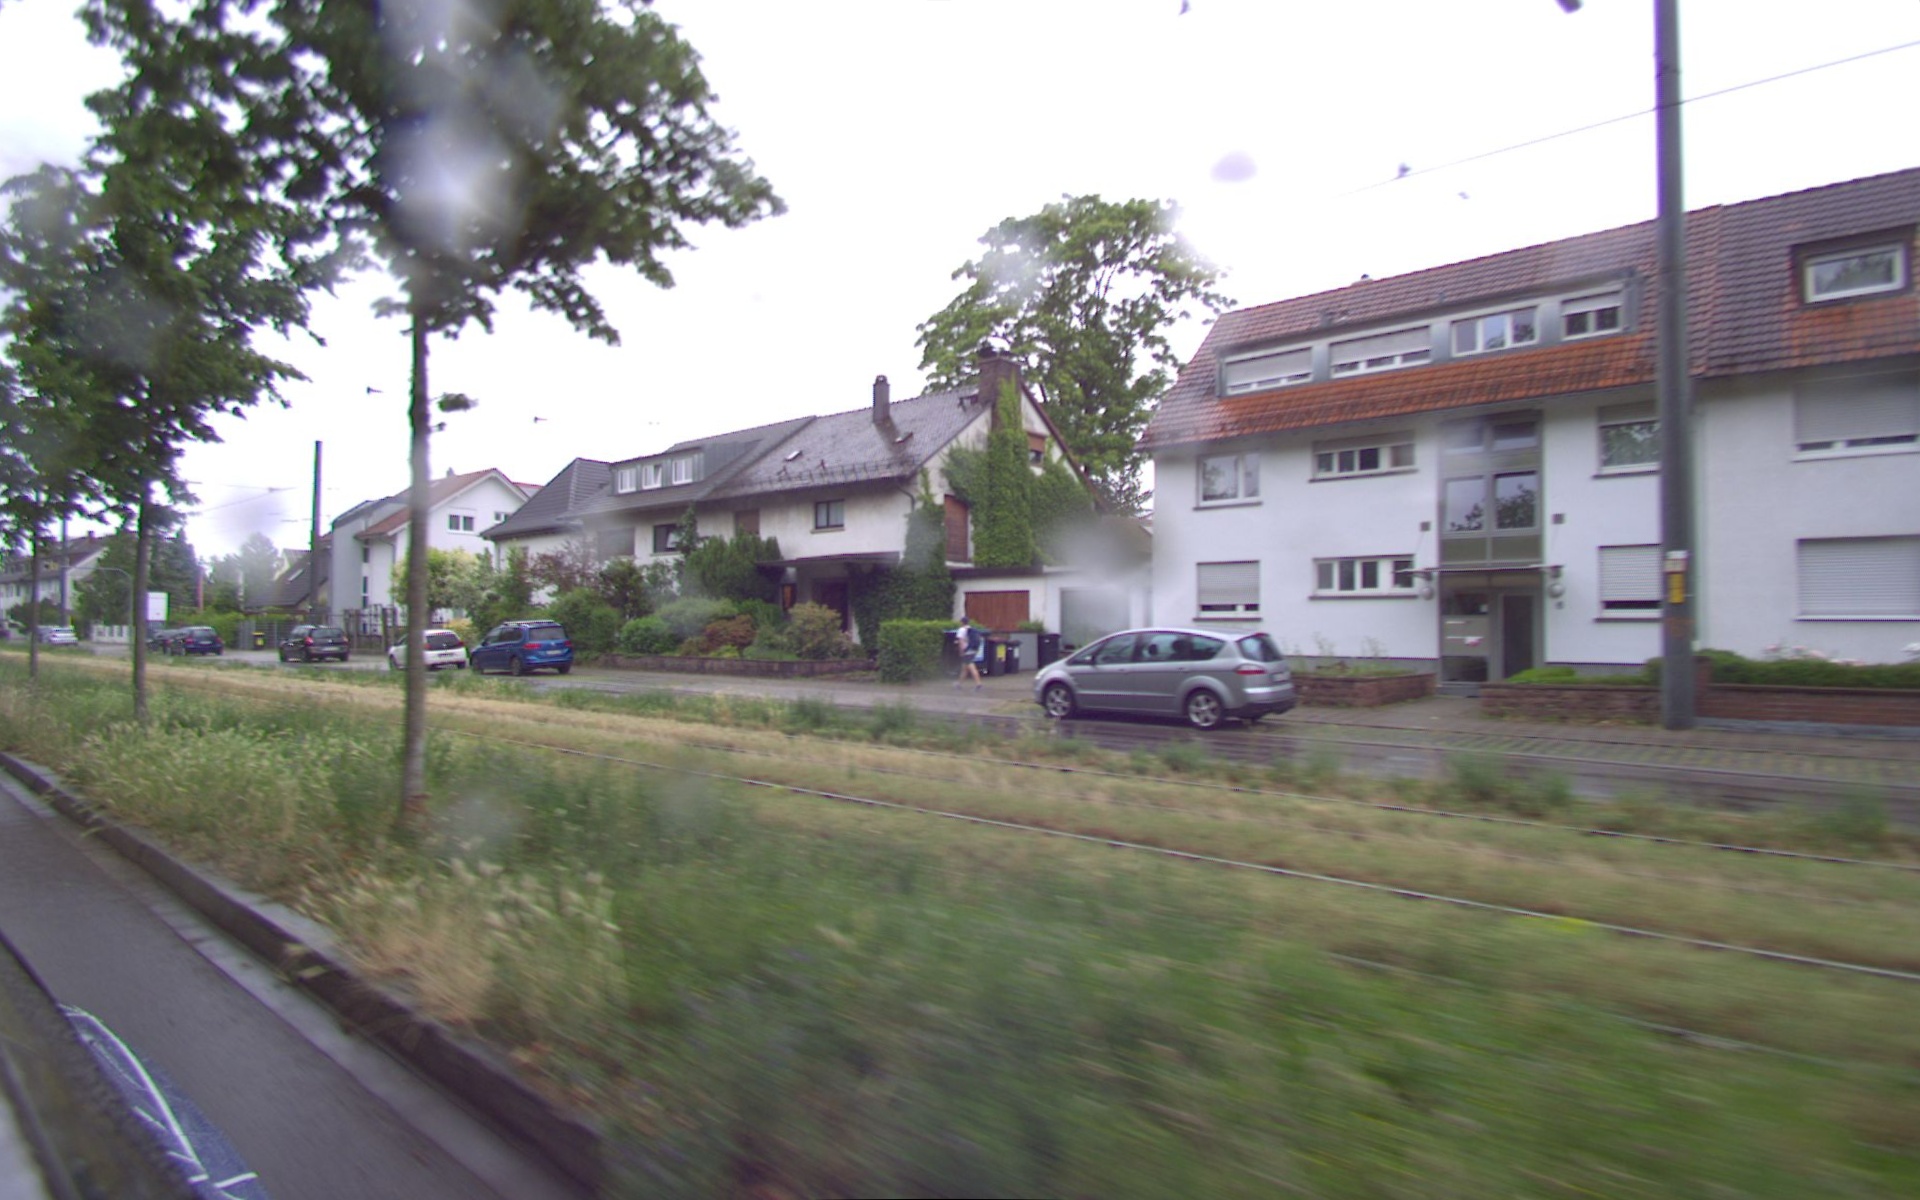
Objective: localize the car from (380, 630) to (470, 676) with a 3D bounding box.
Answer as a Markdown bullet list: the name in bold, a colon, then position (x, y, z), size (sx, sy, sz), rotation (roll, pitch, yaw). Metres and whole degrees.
- **car**: position (-19.857, 1.934, 37.490), size (3.598, 1.540, 1.696), rotation (-2, 0, 40)

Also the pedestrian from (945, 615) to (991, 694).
- **pedestrian**: position (0.179, 1.258, 23.562), size (0.869, 1.781, 0.592), rotation (-2, -2, 41)

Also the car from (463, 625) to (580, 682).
- **car**: position (-14.380, 1.707, 33.092), size (4.178, 1.719, 1.826), rotation (-2, -1, 39)

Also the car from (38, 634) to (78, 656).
- **car**: position (-68.573, 3.399, 76.927), size (3.852, 1.527, 1.736), rotation (-2, 0, 41)

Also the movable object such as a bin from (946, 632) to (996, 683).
- **movable object such as a bin**: position (0.306, 1.515, 27.102), size (0.739, 1.308, 1.172), rotation (-2, -1, 42)

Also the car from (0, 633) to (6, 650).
- **car**: position (-89.862, 3.891, 93.789), size (3.852, 1.527, 1.736), rotation (-2, 0, 41)

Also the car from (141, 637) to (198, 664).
- **car**: position (-45.747, 2.919, 58.533), size (3.998, 1.510, 1.869), rotation (-2, -3, 41)

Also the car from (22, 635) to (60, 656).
- **car**: position (-72.265, 3.543, 79.602), size (3.852, 1.527, 1.736), rotation (-2, 0, 41)

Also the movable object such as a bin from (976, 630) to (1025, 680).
- **movable object such as a bin**: position (1.122, 1.505, 27.987), size (0.739, 1.308, 1.241), rotation (-2, -1, 42)

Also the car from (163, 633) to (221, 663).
- **car**: position (-42.341, 2.602, 55.787), size (3.852, 1.527, 1.736), rotation (-2, 0, 41)

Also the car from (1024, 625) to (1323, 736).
- **car**: position (3.548, 1.275, 17.425), size (4.682, 1.626, 1.972), rotation (-2, -1, 42)

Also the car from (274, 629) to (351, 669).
- **car**: position (-28.687, 2.145, 44.784), size (4.108, 1.626, 1.736), rotation (-2, 0, 41)
